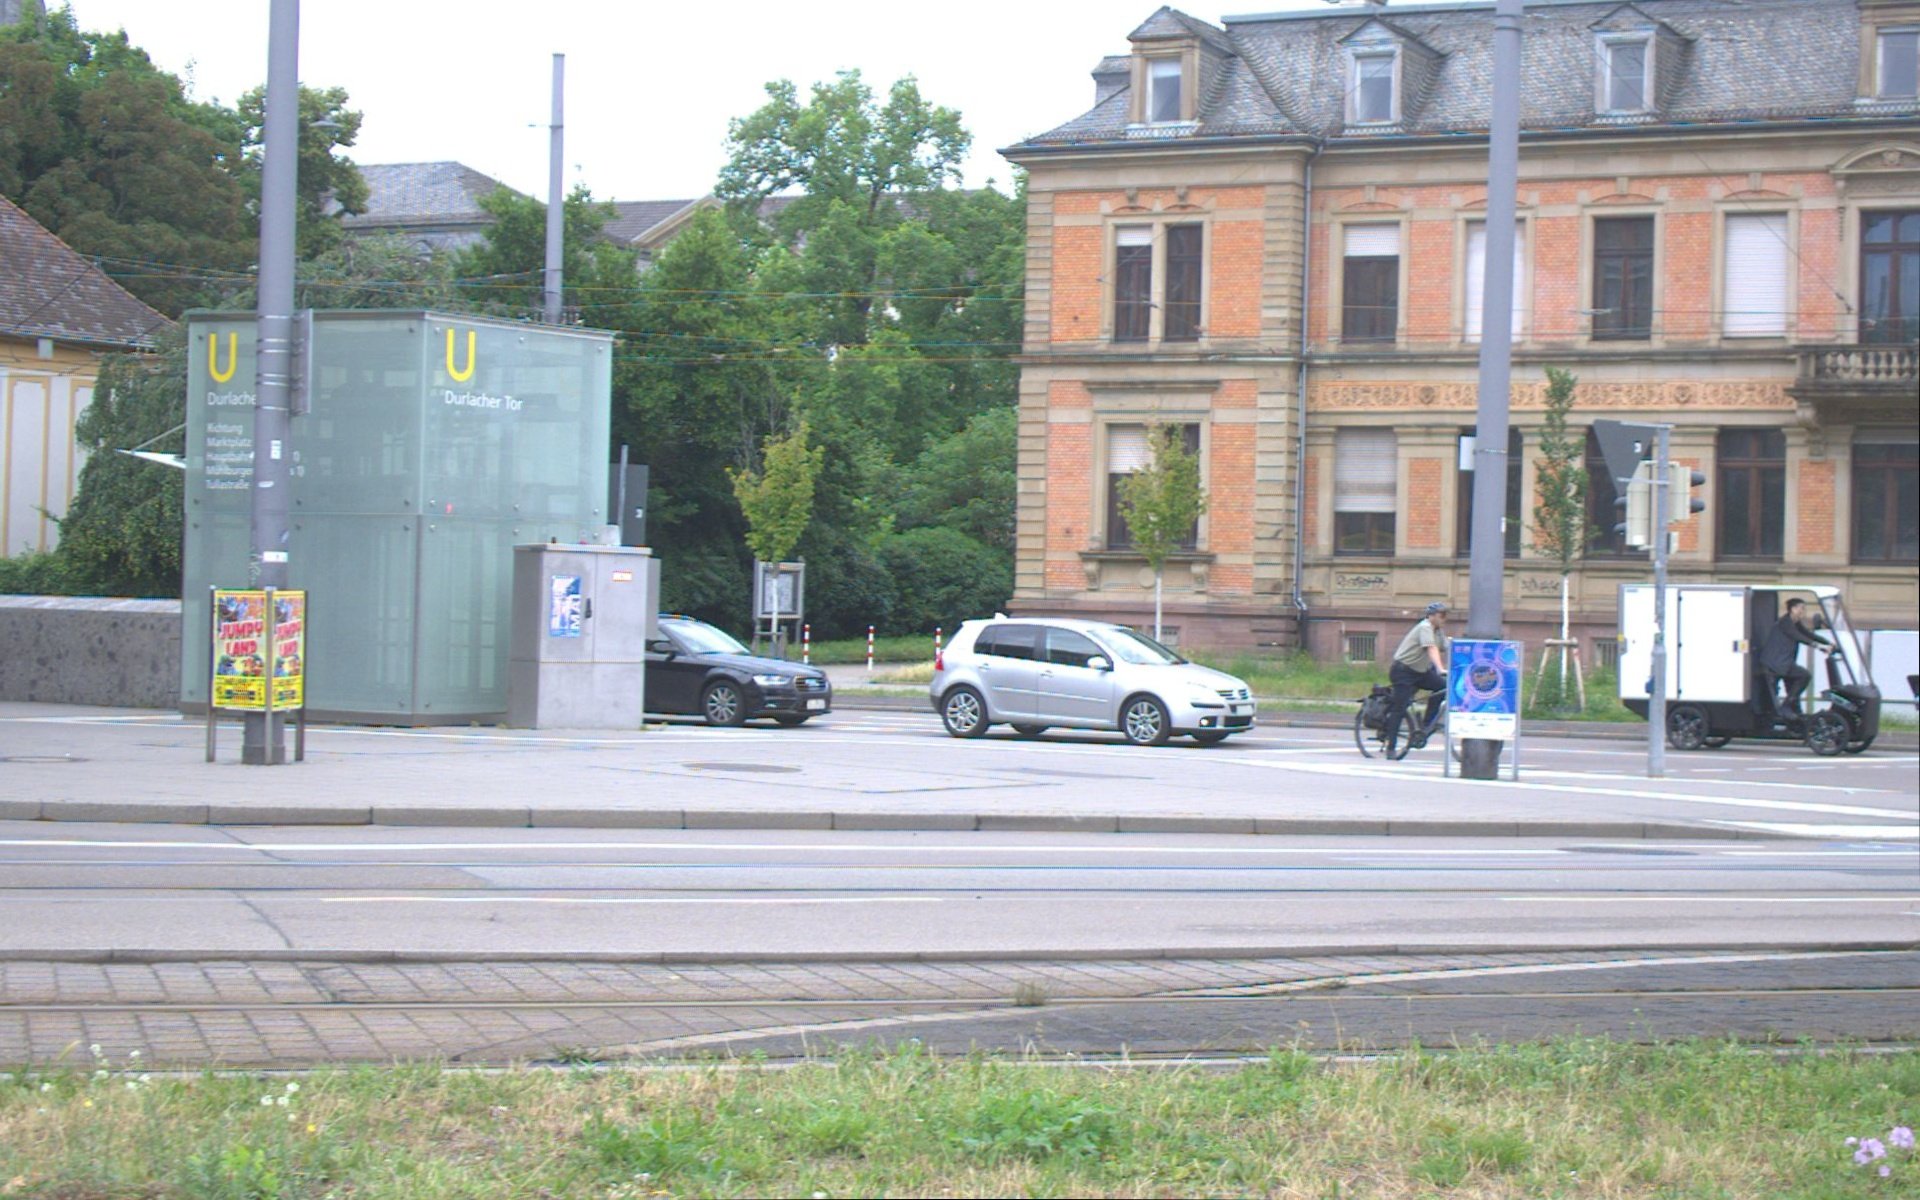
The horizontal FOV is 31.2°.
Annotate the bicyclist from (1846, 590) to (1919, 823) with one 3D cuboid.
[{"bbox_3d":[7.633,0.822,27.166,0.813,1.792,1.030,0,0,-15],"label":"bicyclist"}]

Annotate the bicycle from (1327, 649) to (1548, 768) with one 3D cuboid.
[{"bbox_3d":[5.205,1.178,37.509,2.194,1.204,0.856,1,-1,33],"label":"bicycle"}]

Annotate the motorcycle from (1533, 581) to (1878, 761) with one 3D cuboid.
[{"bbox_3d":[9.019,0.829,41.650,3.682,2.007,1.693,2,0,31],"label":"motorcycle"}]

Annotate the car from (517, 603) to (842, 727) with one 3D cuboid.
[{"bbox_3d":[-3.701,0.827,45.057,4.138,1.444,1.693,2,0,37],"label":"car"}]

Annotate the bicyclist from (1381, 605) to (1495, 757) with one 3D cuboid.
[{"bbox_3d":[5.221,0.883,37.512,0.916,1.617,0.853,1,-1,33],"label":"bicyclist"}]

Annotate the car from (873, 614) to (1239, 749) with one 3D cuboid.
[{"bbox_3d":[1.142,0.963,41.815,4.156,1.449,1.758,2,0,36],"label":"car"}]

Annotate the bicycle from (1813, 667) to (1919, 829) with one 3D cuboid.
[{"bbox_3d":[7.619,1.157,27.182,0.813,1.238,2.000,1,-1,-15],"label":"bicycle"}]
